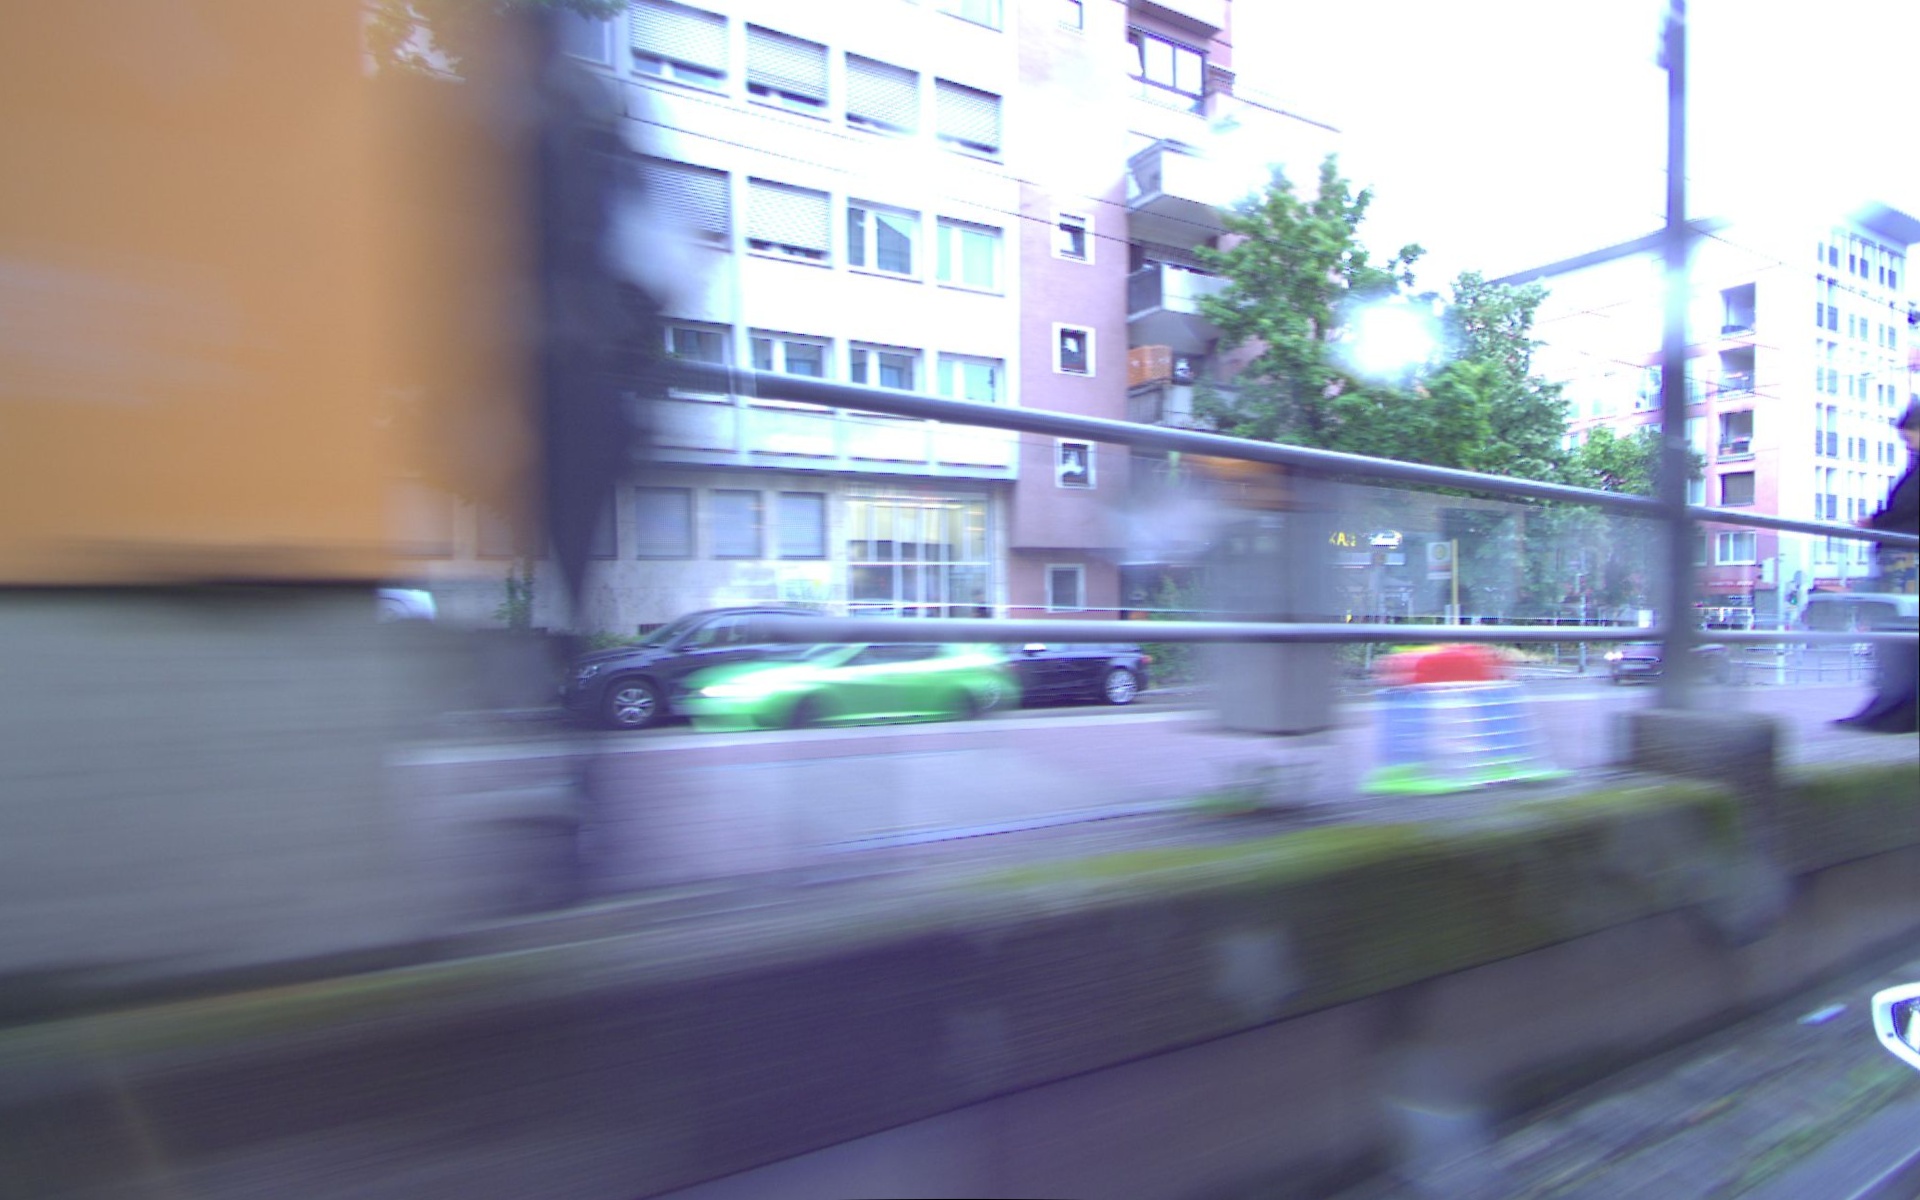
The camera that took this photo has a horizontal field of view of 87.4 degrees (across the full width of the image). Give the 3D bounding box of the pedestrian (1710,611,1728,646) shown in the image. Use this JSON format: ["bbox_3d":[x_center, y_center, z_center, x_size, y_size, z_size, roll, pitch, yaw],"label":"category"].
[{"bbox_3d":[37.210,1.391,49.273,0.535,1.653,0.574,2,1,24],"label":"pedestrian"}]

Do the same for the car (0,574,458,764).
[{"bbox_3d":[-8.774,0.718,11.507,5.204,1.869,1.895,1,-1,-35],"label":"car"}]

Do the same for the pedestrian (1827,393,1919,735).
[{"bbox_3d":[4.837,-0.167,5.024,0.693,1.630,0.580,1,-1,-33],"label":"pedestrian"}]

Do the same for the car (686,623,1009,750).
[{"bbox_3d":[-1.359,0.992,12.573,3.695,1.356,1.629,1,-1,-33],"label":"car"}]

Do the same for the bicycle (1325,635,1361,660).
[{"bbox_3d":[14.827,1.833,38.880,1.626,0.915,0.338,1,-1,-28],"label":"bicycle"}]

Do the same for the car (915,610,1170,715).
[{"bbox_3d":[1.505,1.038,17.653,4.319,1.645,1.631,1,-1,-30],"label":"car"}]

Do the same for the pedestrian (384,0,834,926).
[{"bbox_3d":[-0.722,-0.358,2.007,0.693,1.716,0.707,1,-1,-32],"label":"pedestrian"}]

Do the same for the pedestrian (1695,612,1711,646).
[{"bbox_3d":[36.919,1.443,49.900,0.570,1.653,0.609,2,1,34],"label":"pedestrian"}]

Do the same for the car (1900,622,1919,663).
[{"bbox_3d":[41.434,1.756,42.078,4.497,1.633,1.718,0,-1,-29],"label":"car"}]

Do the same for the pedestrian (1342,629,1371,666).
[{"bbox_3d":[13.202,1.575,33.481,0.600,1.193,0.674,1,-1,-25],"label":"pedestrian"}]

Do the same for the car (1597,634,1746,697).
[{"bbox_3d":[18.493,1.633,26.051,4.483,1.481,1.682,1,-1,-34],"label":"car"}]

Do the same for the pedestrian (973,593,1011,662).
[{"bbox_3d":[0.741,0.634,23.277,0.579,1.578,0.694,1,-1,-36],"label":"pedestrian"}]

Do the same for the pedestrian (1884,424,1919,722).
[{"bbox_3d":[5.445,-0.141,5.370,0.693,1.578,0.580,1,-1,-33],"label":"pedestrian"}]

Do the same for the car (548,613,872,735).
[{"bbox_3d":[-3.595,0.995,14.675,4.319,1.557,1.631,1,-1,-30],"label":"car"}]

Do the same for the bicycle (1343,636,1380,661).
[{"bbox_3d":[15.234,1.829,38.140,1.626,0.923,0.338,1,-1,-28],"label":"bicycle"}]
